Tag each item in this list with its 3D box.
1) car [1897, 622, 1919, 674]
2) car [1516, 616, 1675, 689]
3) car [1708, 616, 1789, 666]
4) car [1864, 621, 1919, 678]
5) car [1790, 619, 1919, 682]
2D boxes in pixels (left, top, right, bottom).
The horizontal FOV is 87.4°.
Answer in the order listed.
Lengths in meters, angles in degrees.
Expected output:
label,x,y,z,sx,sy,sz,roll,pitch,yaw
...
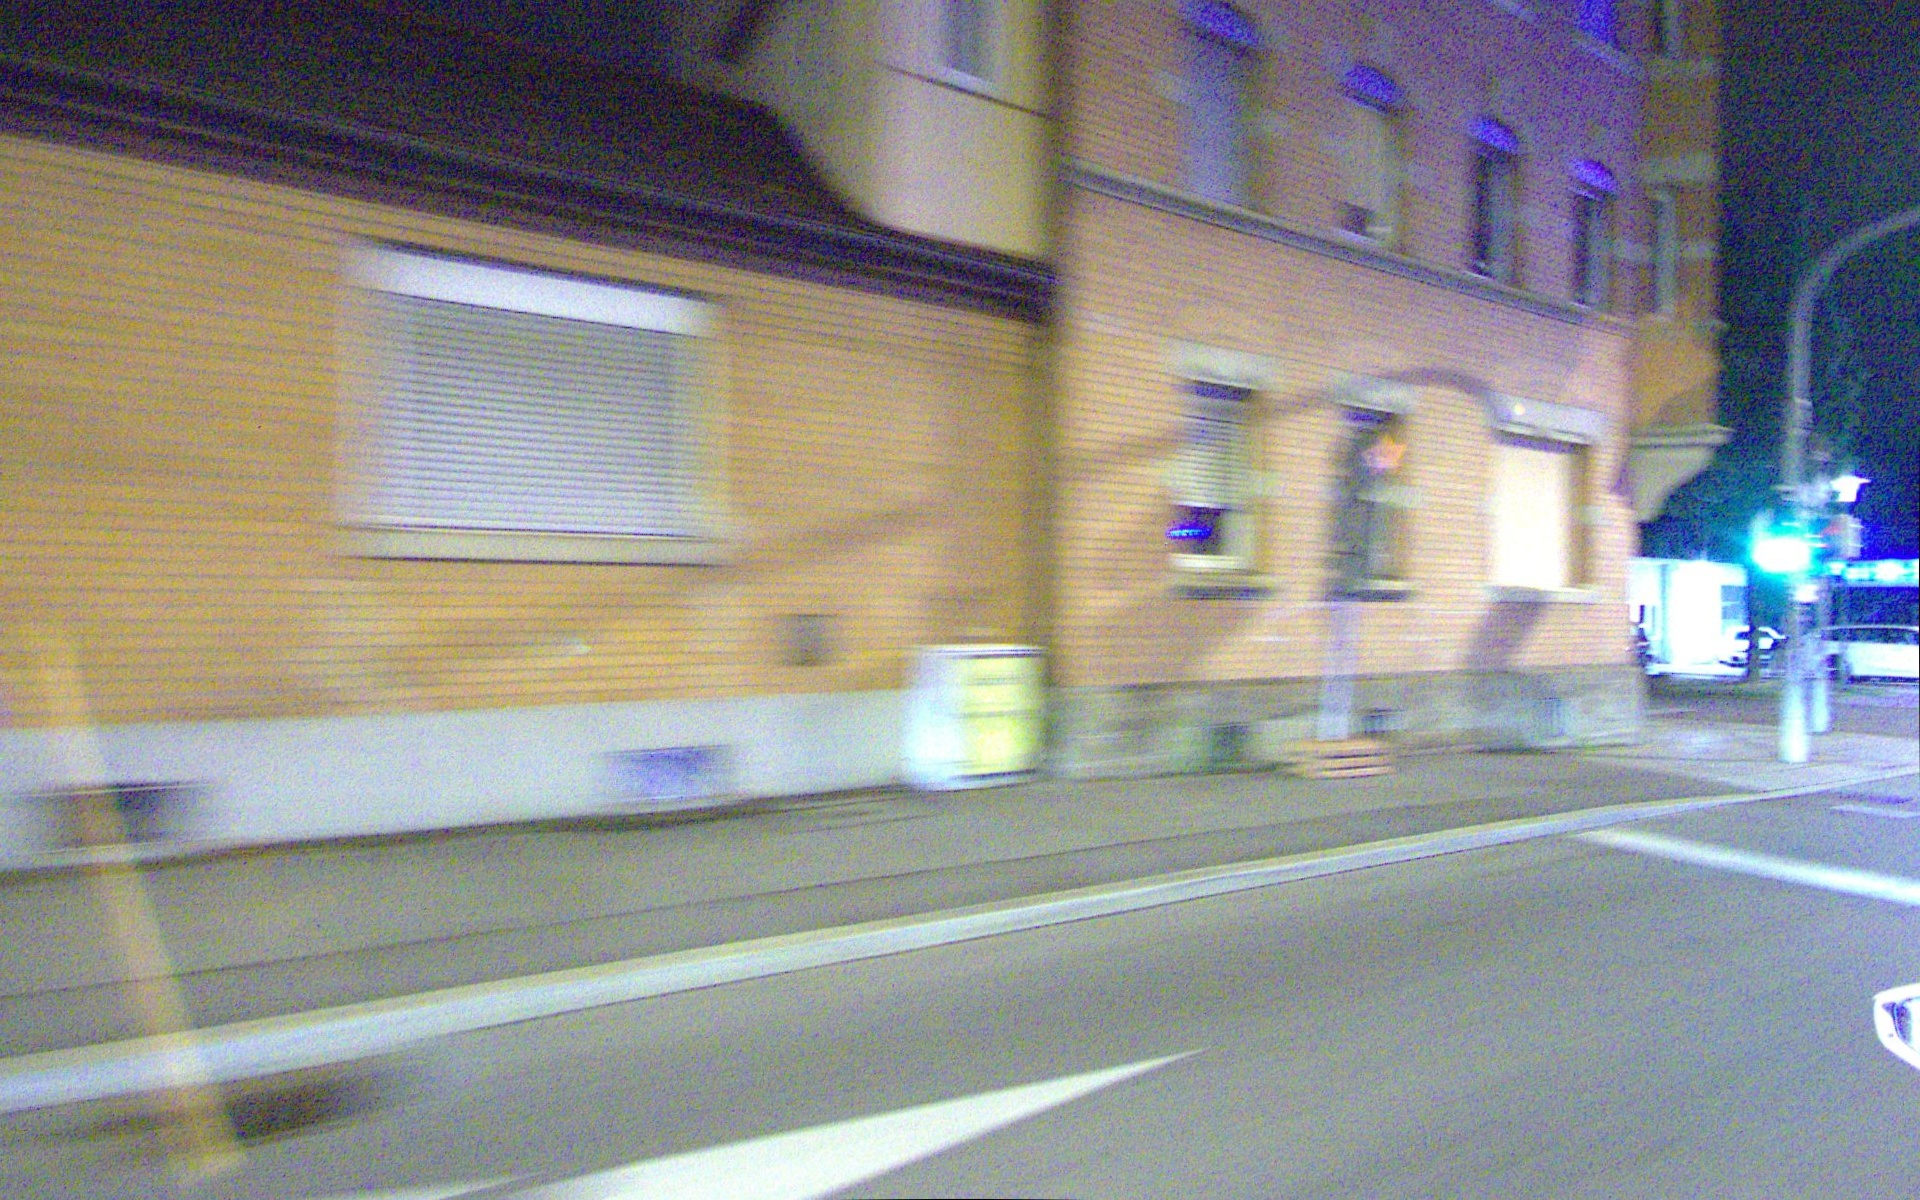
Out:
label,x,y,z,sx,sy,sz,roll,pitch,yaw
car,29.071,1.406,27.655,1.976,1.469,4.418,2,-1,-30
car,15.955,1.249,25.182,3.959,1.644,1.981,1,0,-35
car,30.740,1.580,39.278,1.965,1.798,3.992,1,-1,31
car,26.487,1.340,25.846,1.977,1.469,4.416,2,-1,-31
car,23.665,1.253,24.848,1.976,1.469,4.418,2,-1,-30
